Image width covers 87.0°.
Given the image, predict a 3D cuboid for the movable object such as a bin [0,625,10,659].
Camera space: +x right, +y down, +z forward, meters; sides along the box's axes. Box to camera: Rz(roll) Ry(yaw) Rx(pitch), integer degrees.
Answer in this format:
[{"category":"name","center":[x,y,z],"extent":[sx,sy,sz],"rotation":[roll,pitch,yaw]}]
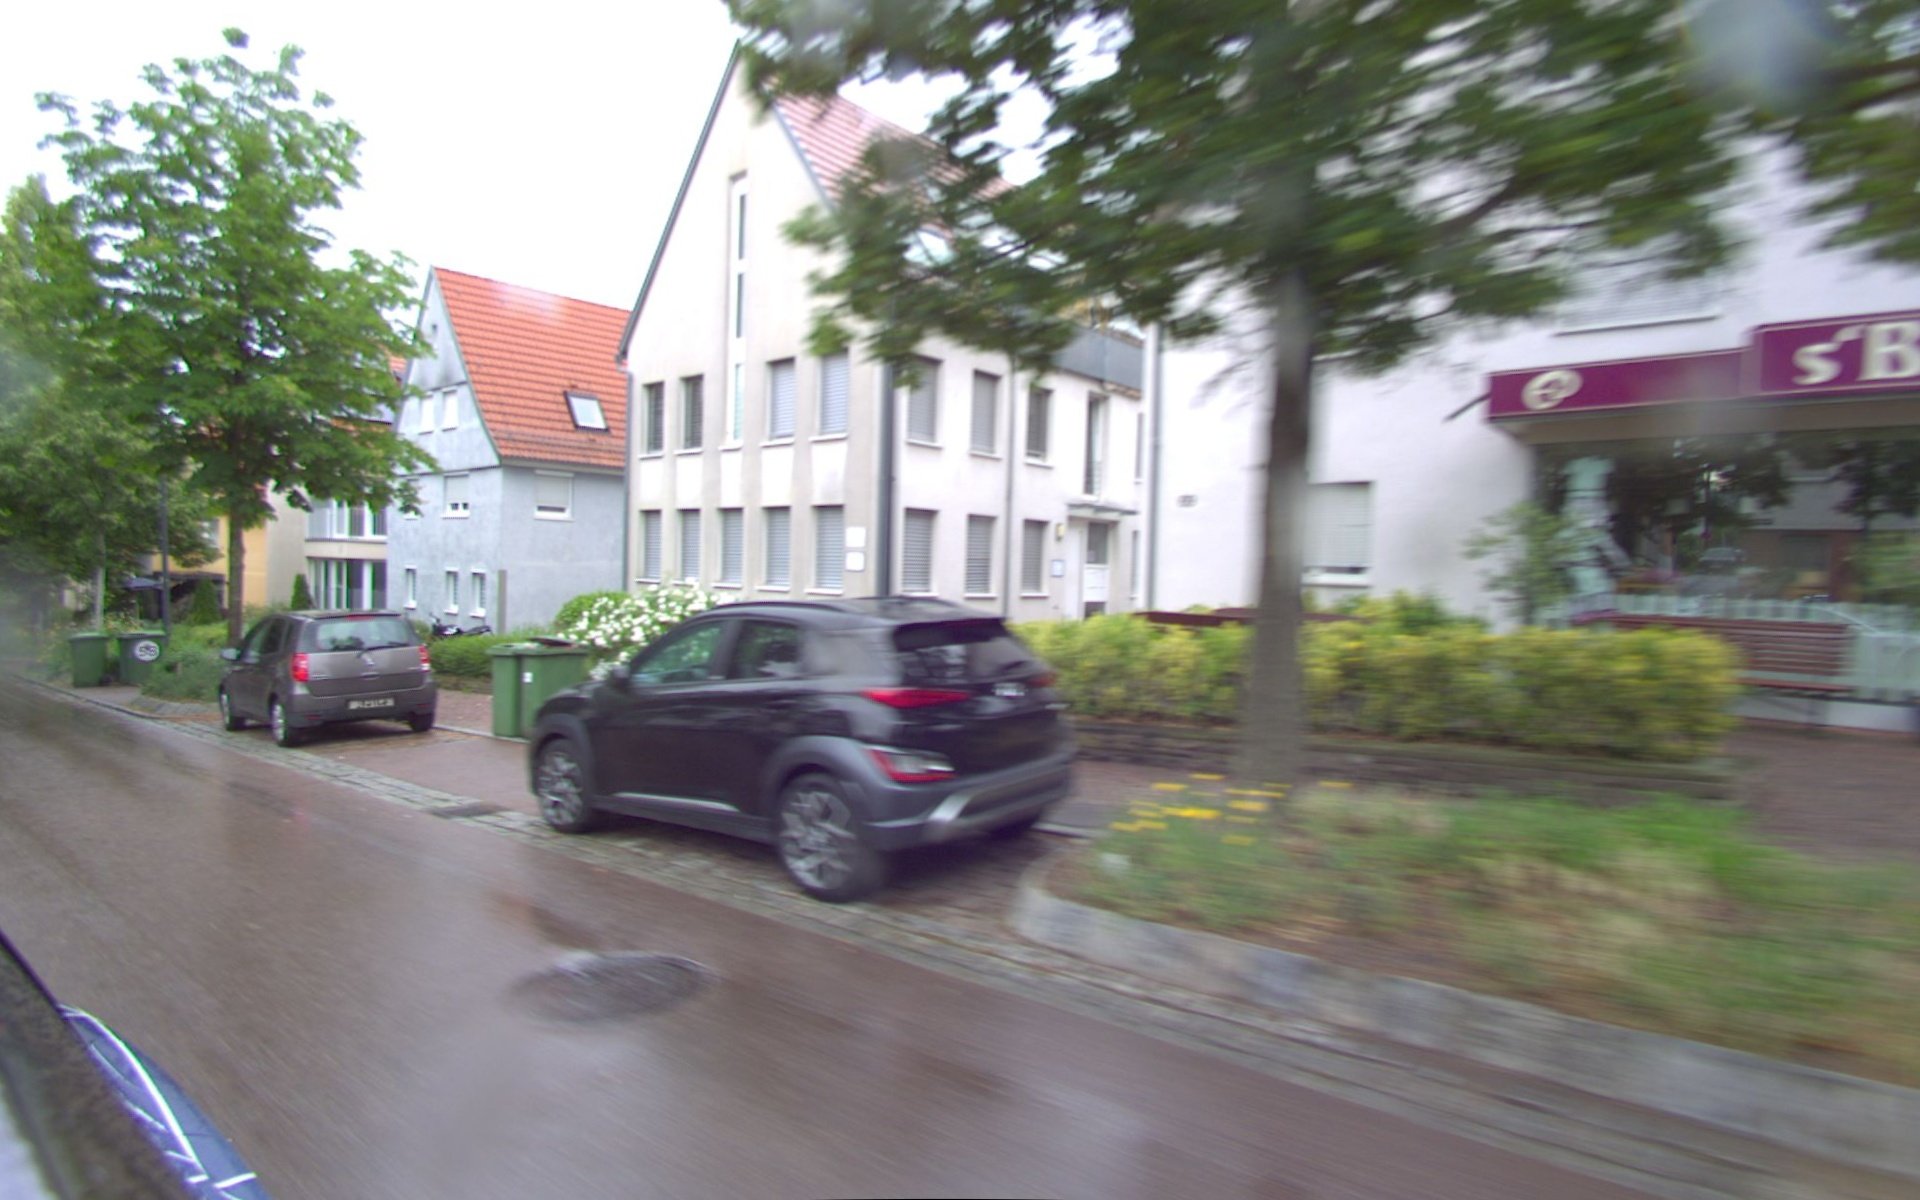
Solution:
[{"category":"movable object such as a bin","center":[-31.168,1.366,32.708],"extent":[0.545,1.070,0.588],"rotation":[-1,2,44]}]

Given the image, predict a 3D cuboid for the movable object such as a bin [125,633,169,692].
[{"category":"movable object such as a bin","center":[-16.148,1.228,20.108],"extent":[0.564,1.119,0.604],"rotation":[-2,-2,42]}]

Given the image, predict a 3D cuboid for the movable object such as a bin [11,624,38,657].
[{"category":"movable object such as a bin","center":[-30.790,1.329,33.308],"extent":[0.545,1.070,0.588],"rotation":[-1,1,44]}]

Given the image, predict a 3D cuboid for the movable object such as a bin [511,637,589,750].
[{"category":"movable object such as a bin","center":[-4.581,1.022,11.307],"extent":[0.618,1.186,0.576],"rotation":[-2,-1,40]}]

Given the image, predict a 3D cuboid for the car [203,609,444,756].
[{"category":"car","center":[-8.195,0.930,12.895],"extent":[3.865,1.544,1.629],"rotation":[-1,0,43]}]

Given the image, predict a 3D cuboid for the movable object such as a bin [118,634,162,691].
[{"category":"movable object such as a bin","center":[-16.621,1.259,20.518],"extent":[0.564,1.119,0.604],"rotation":[-2,-2,42]}]

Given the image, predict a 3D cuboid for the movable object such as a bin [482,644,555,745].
[{"category":"movable object such as a bin","center":[-5.088,1.071,11.672],"extent":[0.595,1.107,0.547],"rotation":[-2,-1,40]}]

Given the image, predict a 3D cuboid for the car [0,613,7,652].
[{"category":"car","center":[-36.928,1.240,37.666],"extent":[4.544,1.399,1.753],"rotation":[-1,1,42]}]

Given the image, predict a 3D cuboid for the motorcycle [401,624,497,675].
[{"category":"motorcycle","center":[-12.697,1.202,25.192],"extent":[0.817,1.171,1.962],"rotation":[0,0,41]}]

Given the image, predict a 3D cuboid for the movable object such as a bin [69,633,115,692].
[{"category":"movable object such as a bin","center":[-17.170,1.227,20.018],"extent":[0.536,1.119,0.636],"rotation":[-2,-2,42]}]

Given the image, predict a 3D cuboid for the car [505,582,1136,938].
[{"category":"car","center":[-1.079,0.745,6.508],"extent":[3.996,1.565,1.754],"rotation":[-1,1,40]}]
